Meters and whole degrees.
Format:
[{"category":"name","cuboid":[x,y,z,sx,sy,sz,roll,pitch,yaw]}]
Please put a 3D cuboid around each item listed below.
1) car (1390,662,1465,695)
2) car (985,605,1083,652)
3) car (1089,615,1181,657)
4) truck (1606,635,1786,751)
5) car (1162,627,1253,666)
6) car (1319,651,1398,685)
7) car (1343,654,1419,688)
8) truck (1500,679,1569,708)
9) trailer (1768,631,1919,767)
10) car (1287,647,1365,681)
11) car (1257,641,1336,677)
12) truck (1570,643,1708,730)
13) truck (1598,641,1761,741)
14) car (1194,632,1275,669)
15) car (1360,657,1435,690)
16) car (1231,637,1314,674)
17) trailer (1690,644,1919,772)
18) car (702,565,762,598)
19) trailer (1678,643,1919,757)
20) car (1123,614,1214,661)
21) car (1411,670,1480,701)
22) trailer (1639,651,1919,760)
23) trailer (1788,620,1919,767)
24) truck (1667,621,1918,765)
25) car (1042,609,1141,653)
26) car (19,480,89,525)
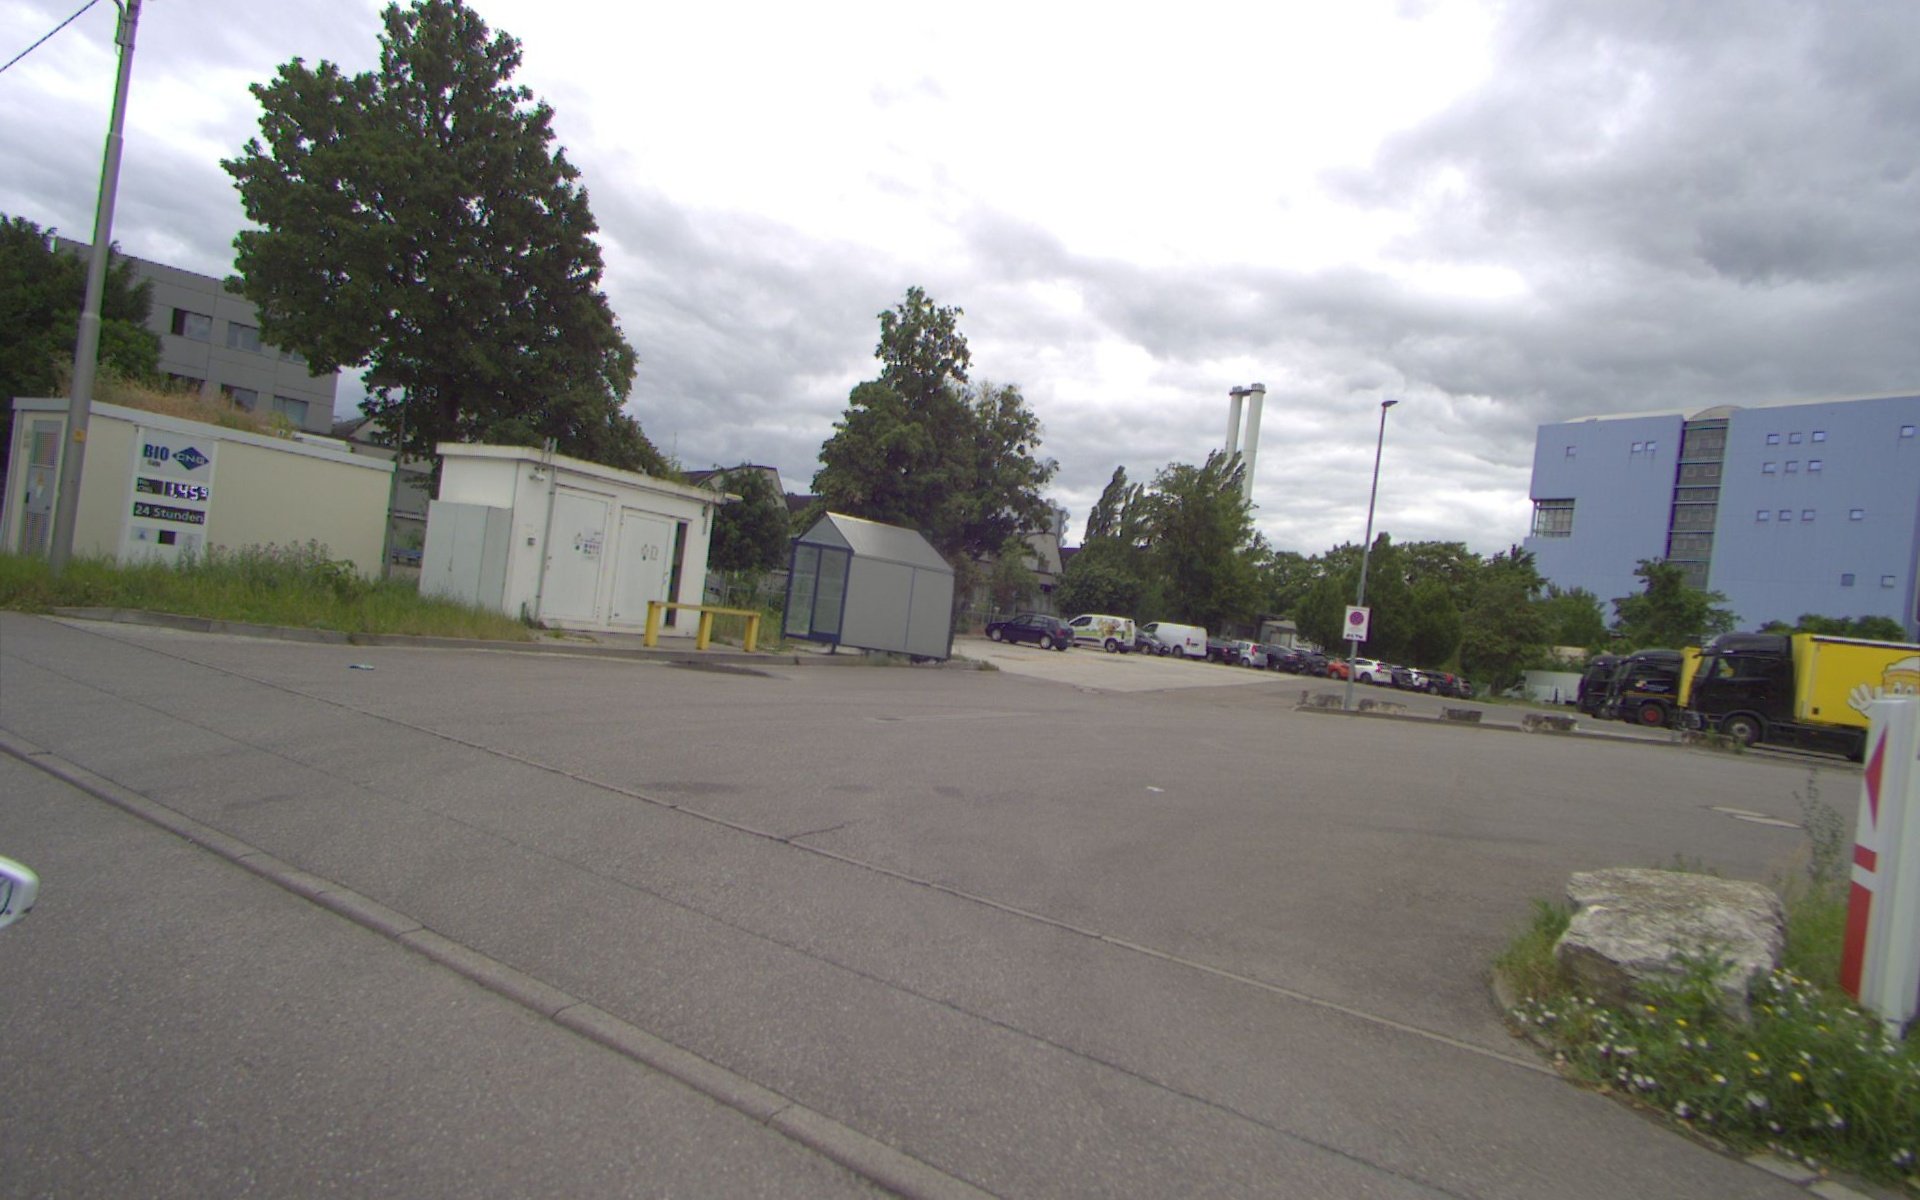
[{"category":"car","cuboid":[33.108,5.544,71.389,1.969,1.671,4.298,7,0,-37]},{"category":"car","cuboid":[3.251,1.264,44.454,3.820,1.549,1.734,7,0,32]},{"category":"car","cuboid":[9.829,1.991,56.892,2.085,1.758,4.829,7,0,-39]},{"category":"truck","cuboid":[33.618,4.162,46.305,5.939,4.315,3.048,7,1,30]},{"category":"car","cuboid":[14.726,2.754,60.068,2.084,1.671,4.914,7,0,-37]},{"category":"car","cuboid":[26.390,4.491,66.752,1.885,1.671,4.361,7,0,-37]},{"category":"car","cuboid":[28.603,4.830,68.443,1.843,1.671,4.263,7,0,-37]},{"category":"truck","cuboid":[54.425,8.845,95.391,1.983,1.953,5.238,7,0,-36]},{"category":"trailer","cuboid":[34.820,3.873,31.579,14.060,3.964,3.004,7,0,30]},{"category":"car","cuboid":[23.966,4.184,65.973,1.878,1.613,4.323,7,0,-37]},{"category":"car","cuboid":[21.441,3.765,64.278,1.947,1.671,4.284,7,0,-37]},{"category":"truck","cuboid":[38.502,4.865,57.312,5.939,3.964,2.694,7,1,30]},{"category":"truck","cuboid":[35.433,4.419,49.863,5.939,3.964,2.694,7,1,30]},{"category":"car","cuboid":[16.726,3.051,61.472,1.892,1.671,4.353,7,0,-37]},{"category":"car","cuboid":[30.574,5.149,70.403,1.935,1.671,4.286,7,0,-37]},{"category":"car","cuboid":[19.437,3.451,62.718,1.988,1.671,4.556,7,0,-37]},{"category":"trailer","cuboid":[40.576,5.024,42.203,15.459,4.314,3.024,7,1,30]},{"category":"car","cuboid":[-14.151,-1.178,62.284,1.896,1.540,4.018,7,1,-39]},{"category":"trailer","cuboid":[43.459,5.080,45.164,17.766,3.964,2.694,7,1,30]},{"category":"car","cuboid":[12.138,2.144,58.721,2.084,2.129,4.853,7,0,-37]},{"category":"car","cuboid":[35.298,6.191,73.199,1.809,1.671,3.989,7,0,-37]},{"category":"trailer","cuboid":[44.681,5.615,53.664,13.458,3.964,2.694,7,1,30]},{"category":"trailer","cuboid":[37.862,3.958,34.323,14.060,4.782,3.004,7,1,30]},{"category":"truck","cuboid":[28.734,3.122,35.161,5.939,3.964,2.961,7,1,30]},{"category":"car","cuboid":[6.781,1.574,52.003,4.575,1.666,1.965,7,0,30]},{"category":"car","cuboid":[-39.503,-4.282,43.847,4.383,1.588,1.987,8,3,45]}]
